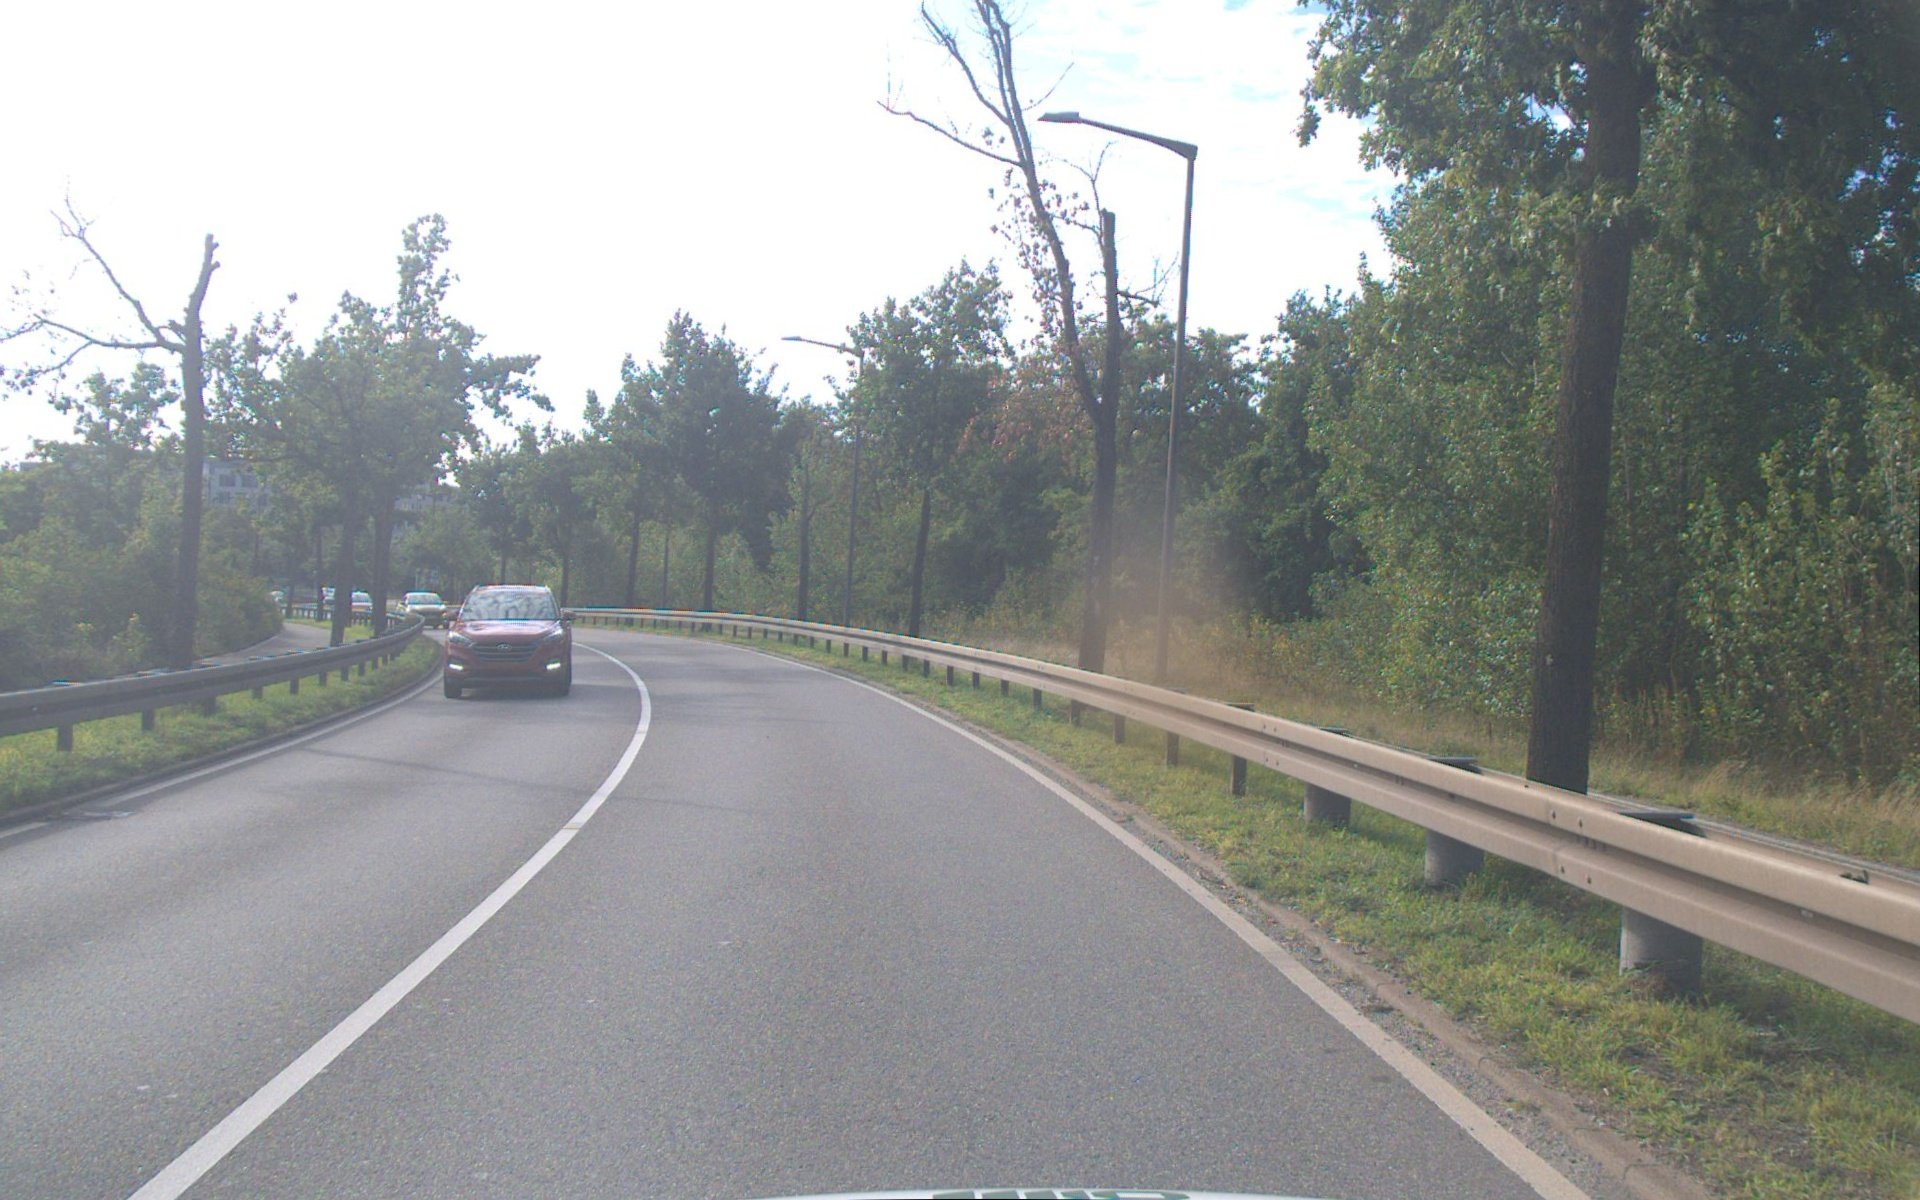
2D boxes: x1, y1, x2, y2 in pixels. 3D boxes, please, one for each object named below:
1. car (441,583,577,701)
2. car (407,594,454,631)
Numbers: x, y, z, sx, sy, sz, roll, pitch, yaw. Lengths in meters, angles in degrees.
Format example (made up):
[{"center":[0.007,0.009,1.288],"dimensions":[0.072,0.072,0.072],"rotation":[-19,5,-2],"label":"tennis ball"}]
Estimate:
[{"center":[-7.032,0.602,26.142],"dimensions":[1.777,1.703,4.285],"rotation":[1,0,-12],"label":"car"},{"center":[-21.514,0.492,67.122],"dimensions":[1.772,1.450,3.851],"rotation":[0,0,-19],"label":"car"}]
